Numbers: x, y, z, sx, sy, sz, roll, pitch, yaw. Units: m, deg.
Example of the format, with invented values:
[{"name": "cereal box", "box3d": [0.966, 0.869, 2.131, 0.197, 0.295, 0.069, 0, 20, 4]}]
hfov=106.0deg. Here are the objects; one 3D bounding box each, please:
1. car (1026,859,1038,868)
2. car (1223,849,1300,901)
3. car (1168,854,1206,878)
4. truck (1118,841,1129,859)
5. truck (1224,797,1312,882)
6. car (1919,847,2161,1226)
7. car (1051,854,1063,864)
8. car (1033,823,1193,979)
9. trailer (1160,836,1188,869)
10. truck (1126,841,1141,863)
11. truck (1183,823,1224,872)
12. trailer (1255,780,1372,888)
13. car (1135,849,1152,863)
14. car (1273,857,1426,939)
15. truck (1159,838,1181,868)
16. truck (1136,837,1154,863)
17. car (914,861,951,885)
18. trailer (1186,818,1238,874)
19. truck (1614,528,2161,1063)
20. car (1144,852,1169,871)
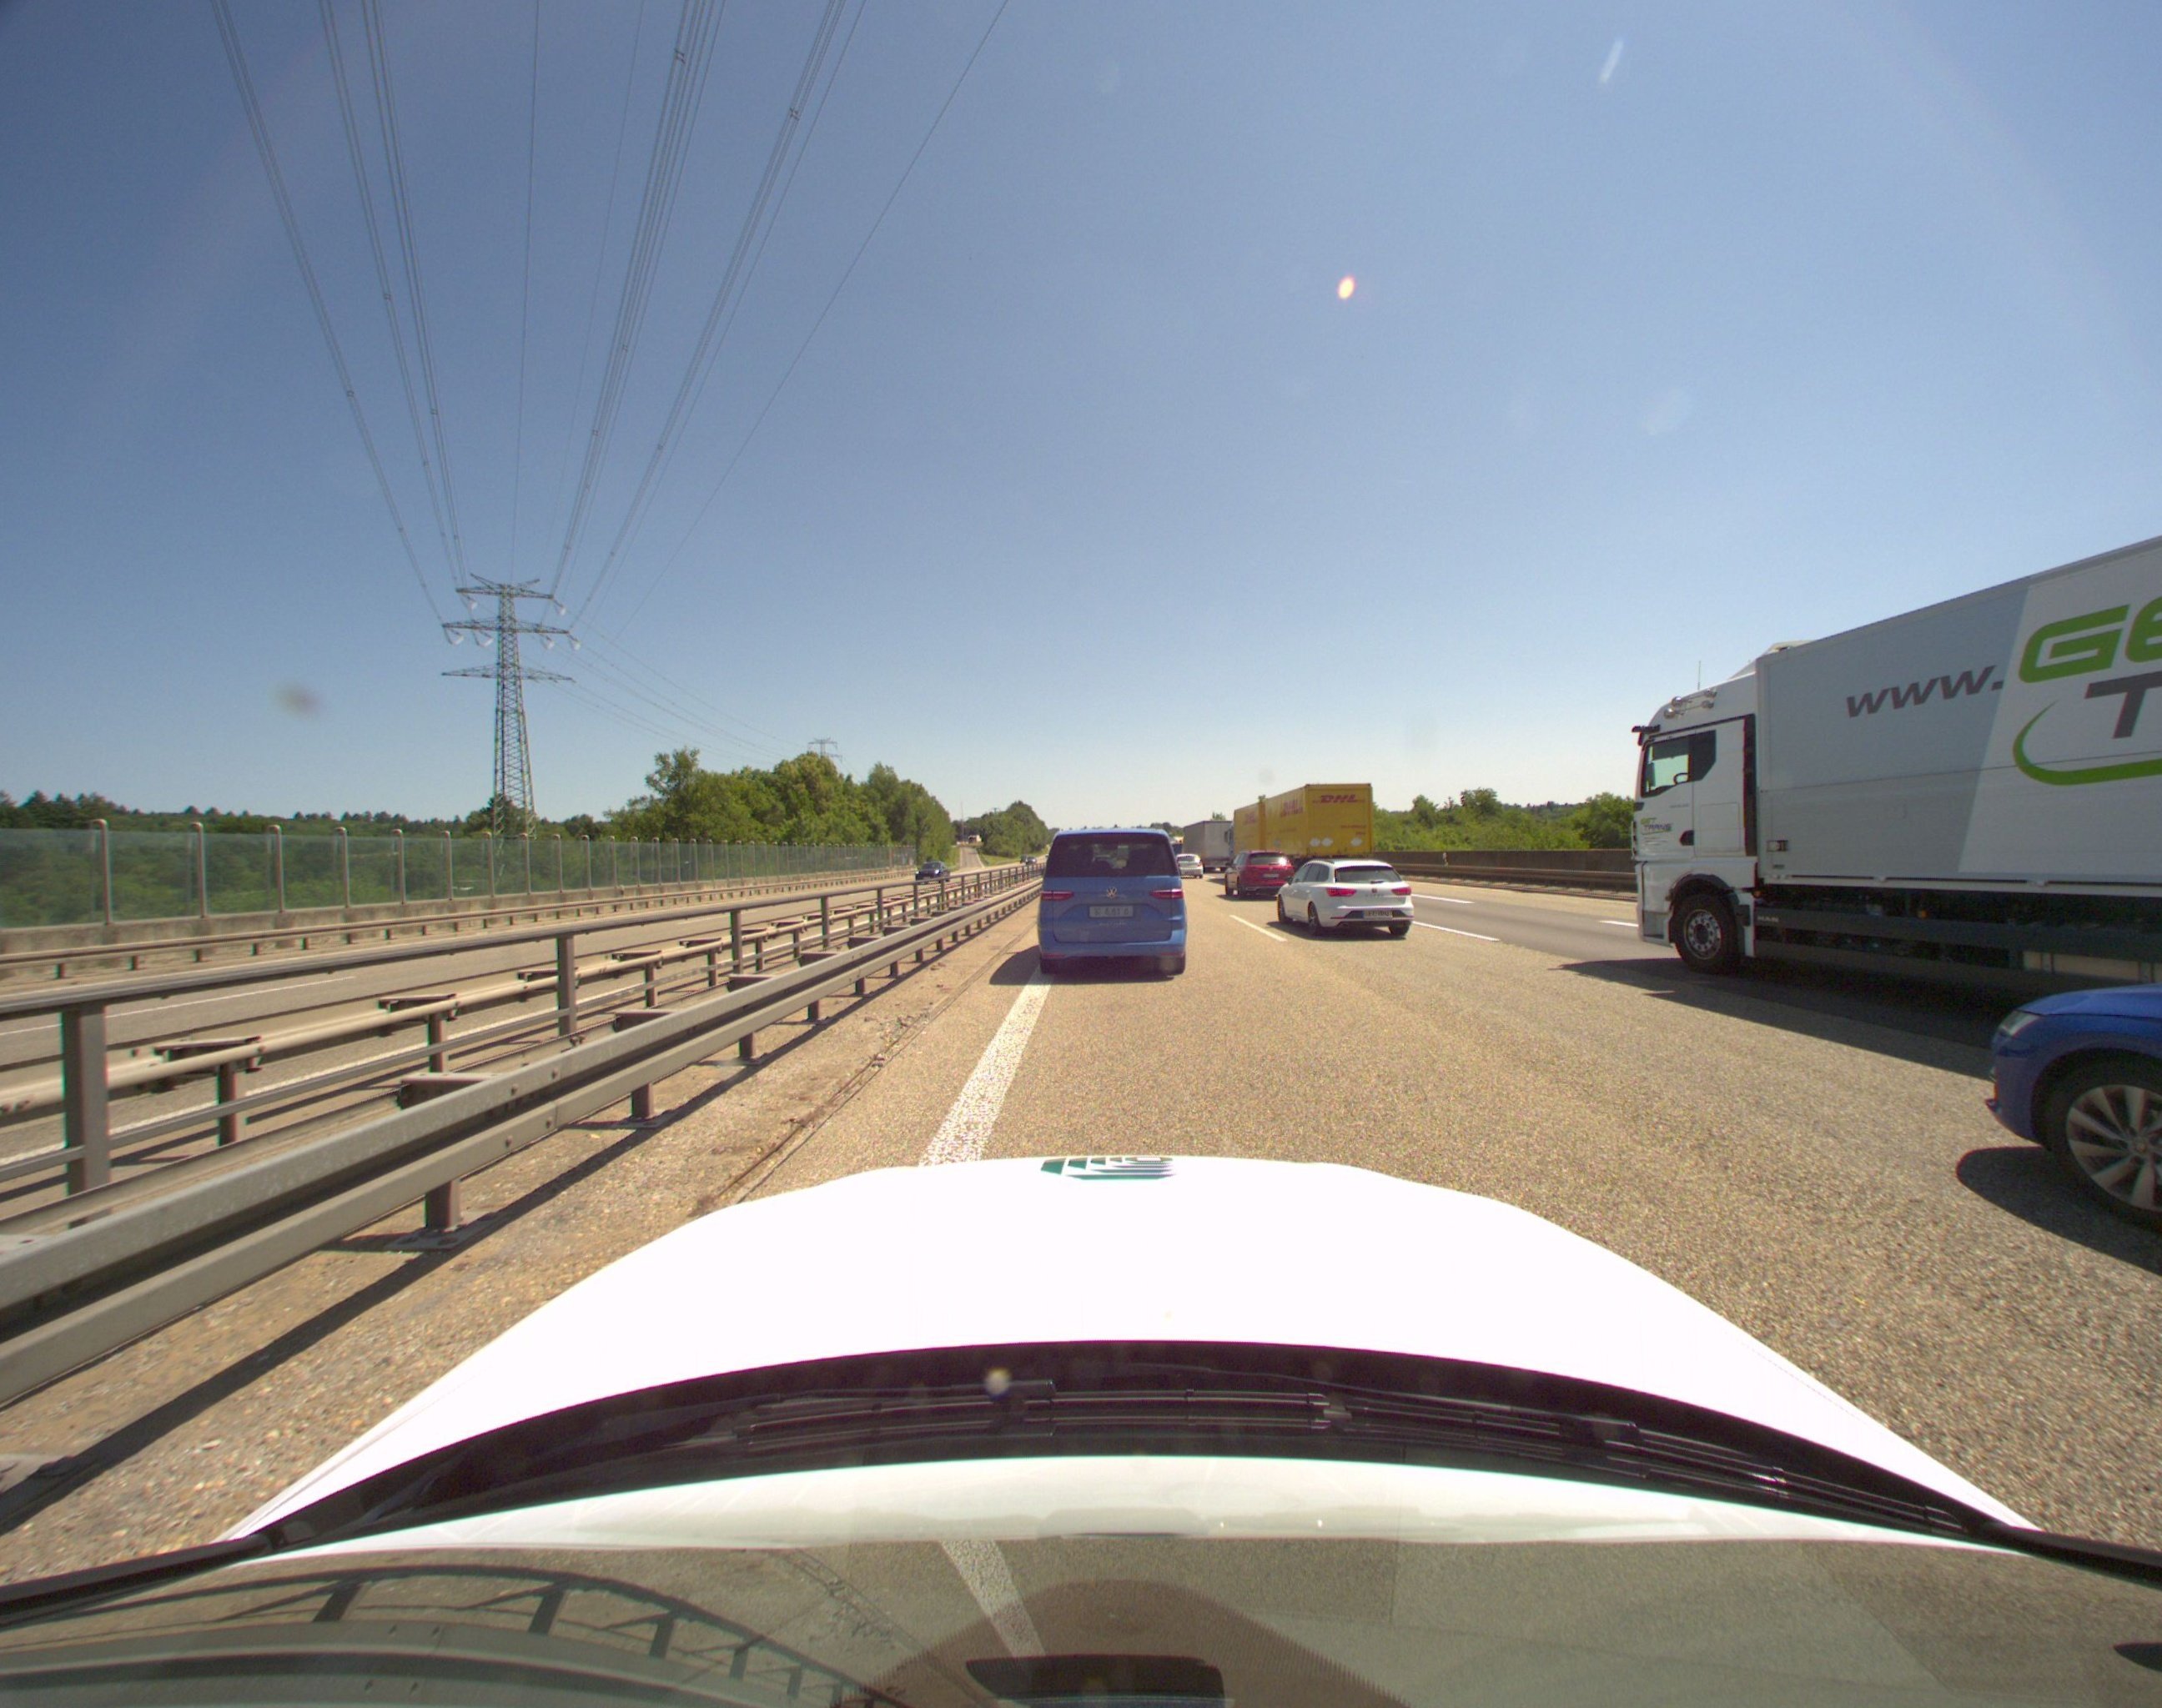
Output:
[{"name": "car", "box3d": [-8.714, 1.671, 144.697, 1.748, 1.547, 4.001, -4, -1, 2]}, {"name": "car", "box3d": [6.095, 0.662, 27.893, 1.844, 1.608, 4.002, -1, 0, 2]}, {"name": "car", "box3d": [6.530, 0.724, 50.649, 1.832, 1.414, 4.000, -1, 0, 0]}, {"name": "truck", "box3d": [13.180, -1.086, 254.084, 2.824, 5.373, 12.553, 0, -1, 0]}, {"name": "truck", "box3d": [9.915, -0.632, 44.367, 2.712, 4.055, 10.340, 0, -1, 2]}, {"name": "car", "box3d": [4.952, 0.682, 1.742, 1.704, 1.440, 4.500, -1, 0, 0]}, {"name": "car", "box3d": [-4.296, 0.929, 144.749, 1.748, 1.721, 4.102, -3, 0, 2]}, {"name": "car", "box3d": [0.451, 0.572, 11.730, 1.875, 1.837, 4.002, -1, 0, 2]}, {"name": "trailer", "box3d": [11.195, -0.092, 98.841, 2.371, 3.744, 11.190, 0, -1, 1]}, {"name": "truck", "box3d": [12.634, -0.373, 197.116, 2.824, 5.040, 11.815, 0, -1, 0]}, {"name": "truck", "box3d": [10.731, -0.497, 72.123, 2.758, 4.095, 6.985, 0, -1, 1]}, {"name": "trailer", "box3d": [9.585, -0.691, 34.718, 2.691, 4.023, 8.934, 0, -1, 2]}, {"name": "car", "box3d": [7.275, 0.215, 95.024, 1.709, 1.540, 3.822, -3, 0, 2]}, {"name": "car", "box3d": [5.151, 0.772, 16.238, 1.774, 1.387, 4.189, -1, 0, 2]}, {"name": "truck", "box3d": [11.375, -0.027, 104.358, 2.359, 3.722, 6.034, 0, -1, 1]}, {"name": "truck", "box3d": [12.790, -0.767, 164.424, 2.824, 5.040, 11.145, 0, -1, 0]}, {"name": "car", "box3d": [-10.975, 1.384, 60.536, 1.773, 1.569, 4.388, -3, -1, 1]}, {"name": "trailer", "box3d": [10.562, -0.515, 66.696, 2.744, 4.146, 11.315, 0, -1, 2]}, {"name": "truck", "box3d": [8.720, -0.394, 5.963, 2.840, 3.603, 10.772, 0, -1, 2]}, {"name": "car", "box3d": [6.519, 0.640, 70.479, 1.709, 1.587, 3.820, -2, 0, 0]}]
